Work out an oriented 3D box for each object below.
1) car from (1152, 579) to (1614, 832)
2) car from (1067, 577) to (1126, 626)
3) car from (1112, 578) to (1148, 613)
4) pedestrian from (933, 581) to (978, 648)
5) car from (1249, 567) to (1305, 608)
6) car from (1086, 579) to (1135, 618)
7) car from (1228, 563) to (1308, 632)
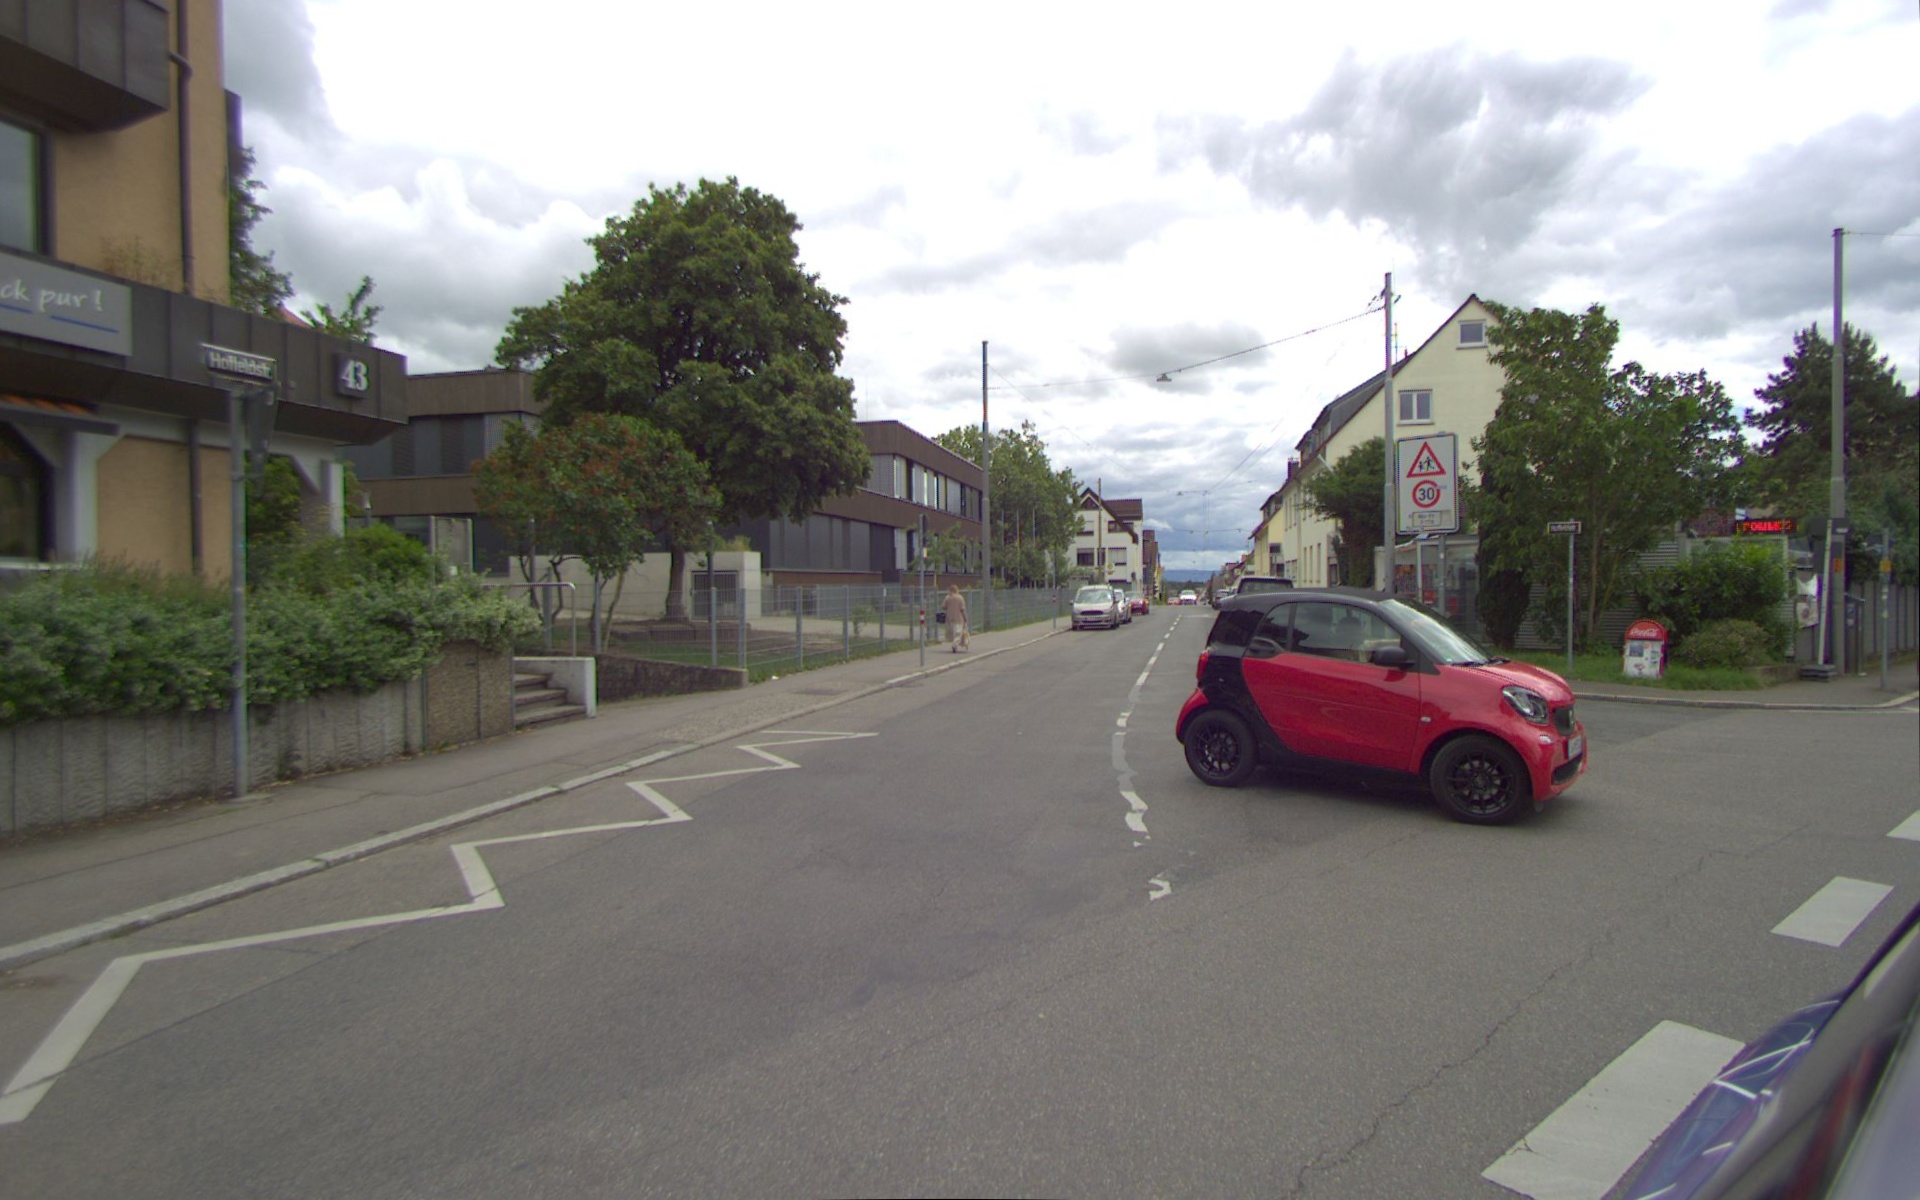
[{"bbox_3d":[3.234,0.628,7.877,2.926,1.539,1.794,1,1,40],"label":"car"},{"bbox_3d":[5.403,0.010,39.688,1.969,1.763,4.378,1,1,12],"label":"car"},{"bbox_3d":[10.408,-0.299,61.794,1.969,2.039,4.378,1,1,12],"label":"car"},{"bbox_3d":[-0.102,0.339,24.176,0.887,1.555,0.955,0,0,15],"label":"pedestrian"},{"bbox_3d":[13.946,-0.557,44.702,1.970,1.694,4.376,1,1,13],"label":"car"},{"bbox_3d":[6.874,-0.109,45.927,1.969,1.625,4.378,1,1,12],"label":"car"},{"bbox_3d":[9.252,-0.112,30.683,1.970,1.901,4.376,1,1,13],"label":"car"}]
